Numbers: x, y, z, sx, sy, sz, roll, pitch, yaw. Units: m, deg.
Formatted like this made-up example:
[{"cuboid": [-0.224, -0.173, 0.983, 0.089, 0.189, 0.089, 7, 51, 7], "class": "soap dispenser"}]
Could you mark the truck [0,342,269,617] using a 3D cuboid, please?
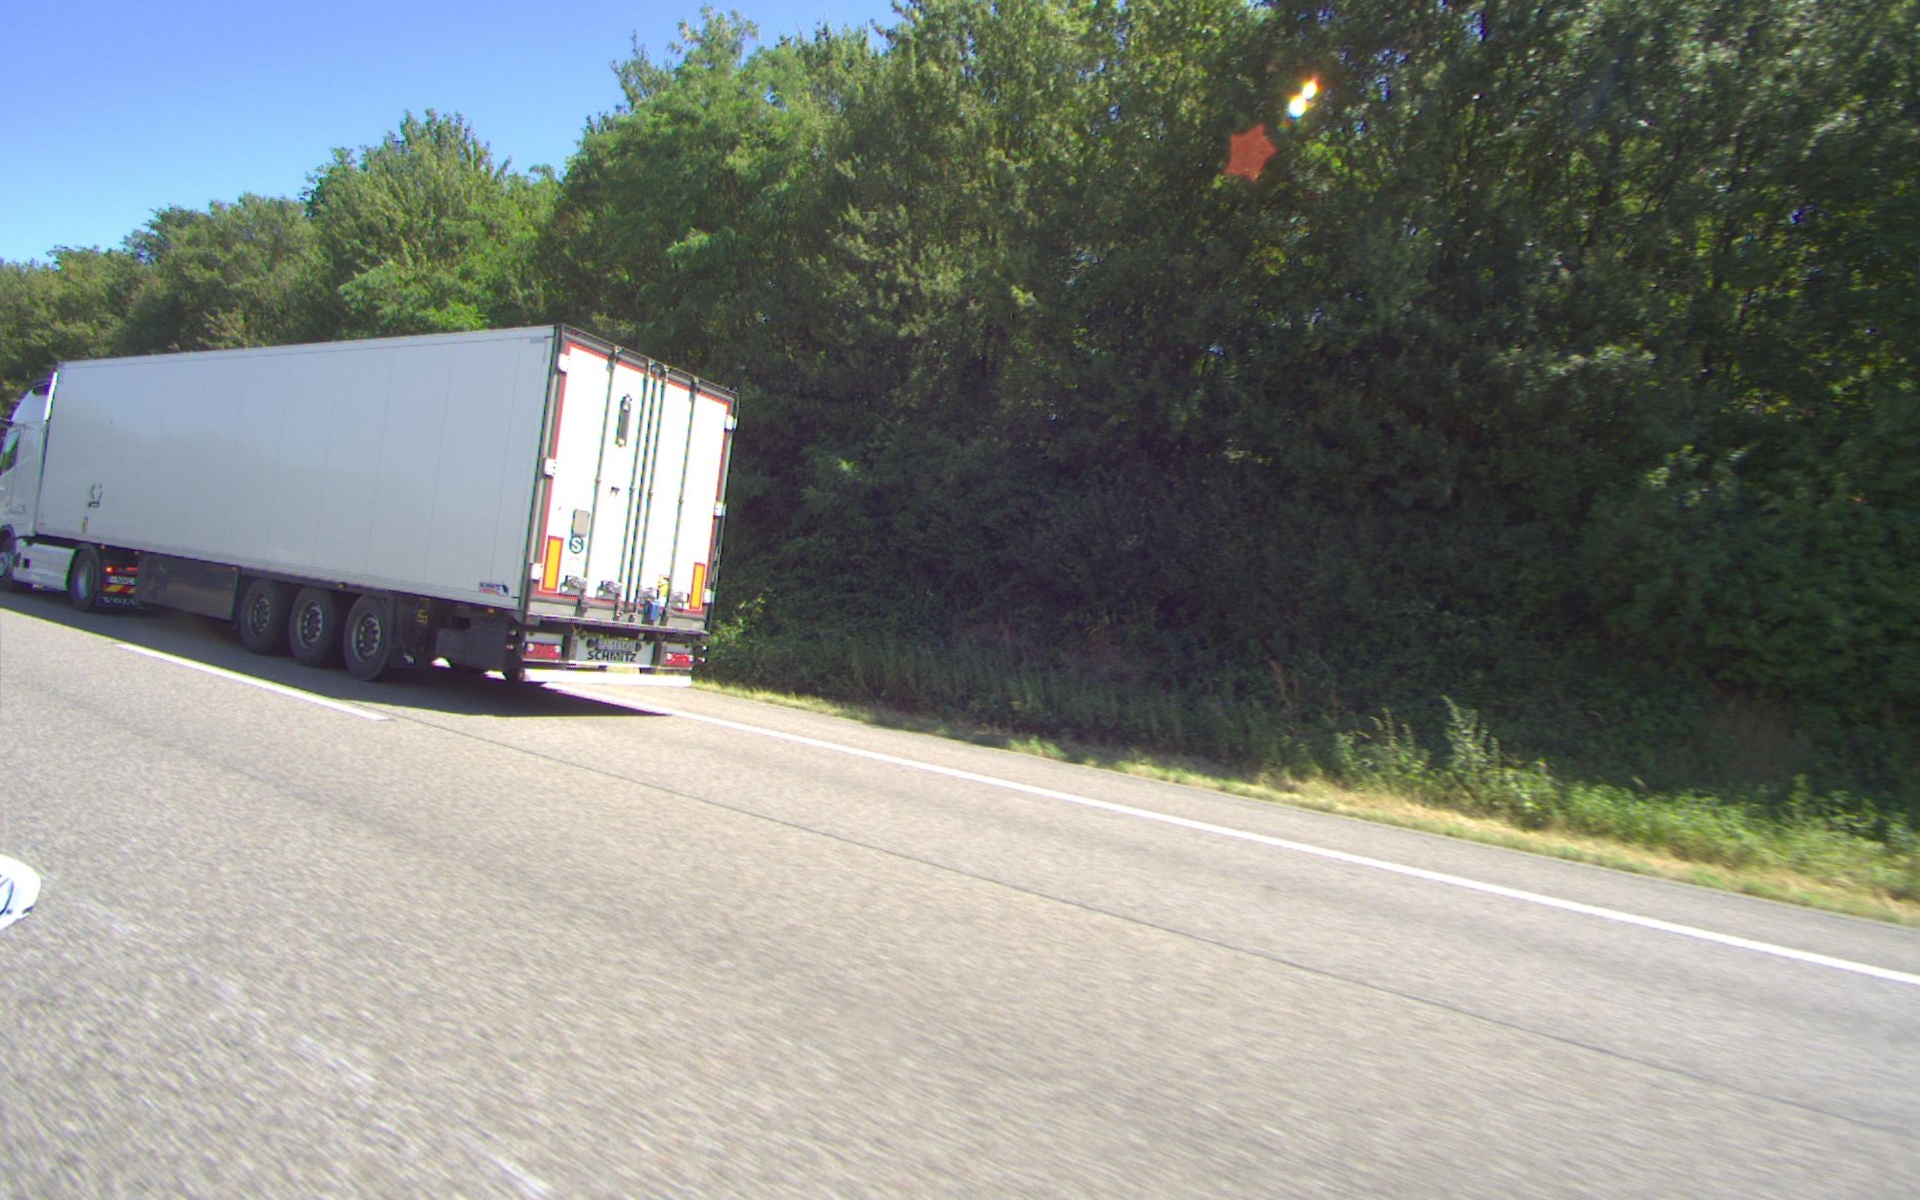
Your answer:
[{"cuboid": [-16.613, -2.214, 19.214, 5.947, 4.264, 3.053, 6, -1, 31], "class": "truck"}]

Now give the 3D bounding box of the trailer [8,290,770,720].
[{"cuboid": [-9.186, -1.418, 14.741, 13.604, 4.274, 3.046, 6, -1, 31], "class": "trailer"}]
